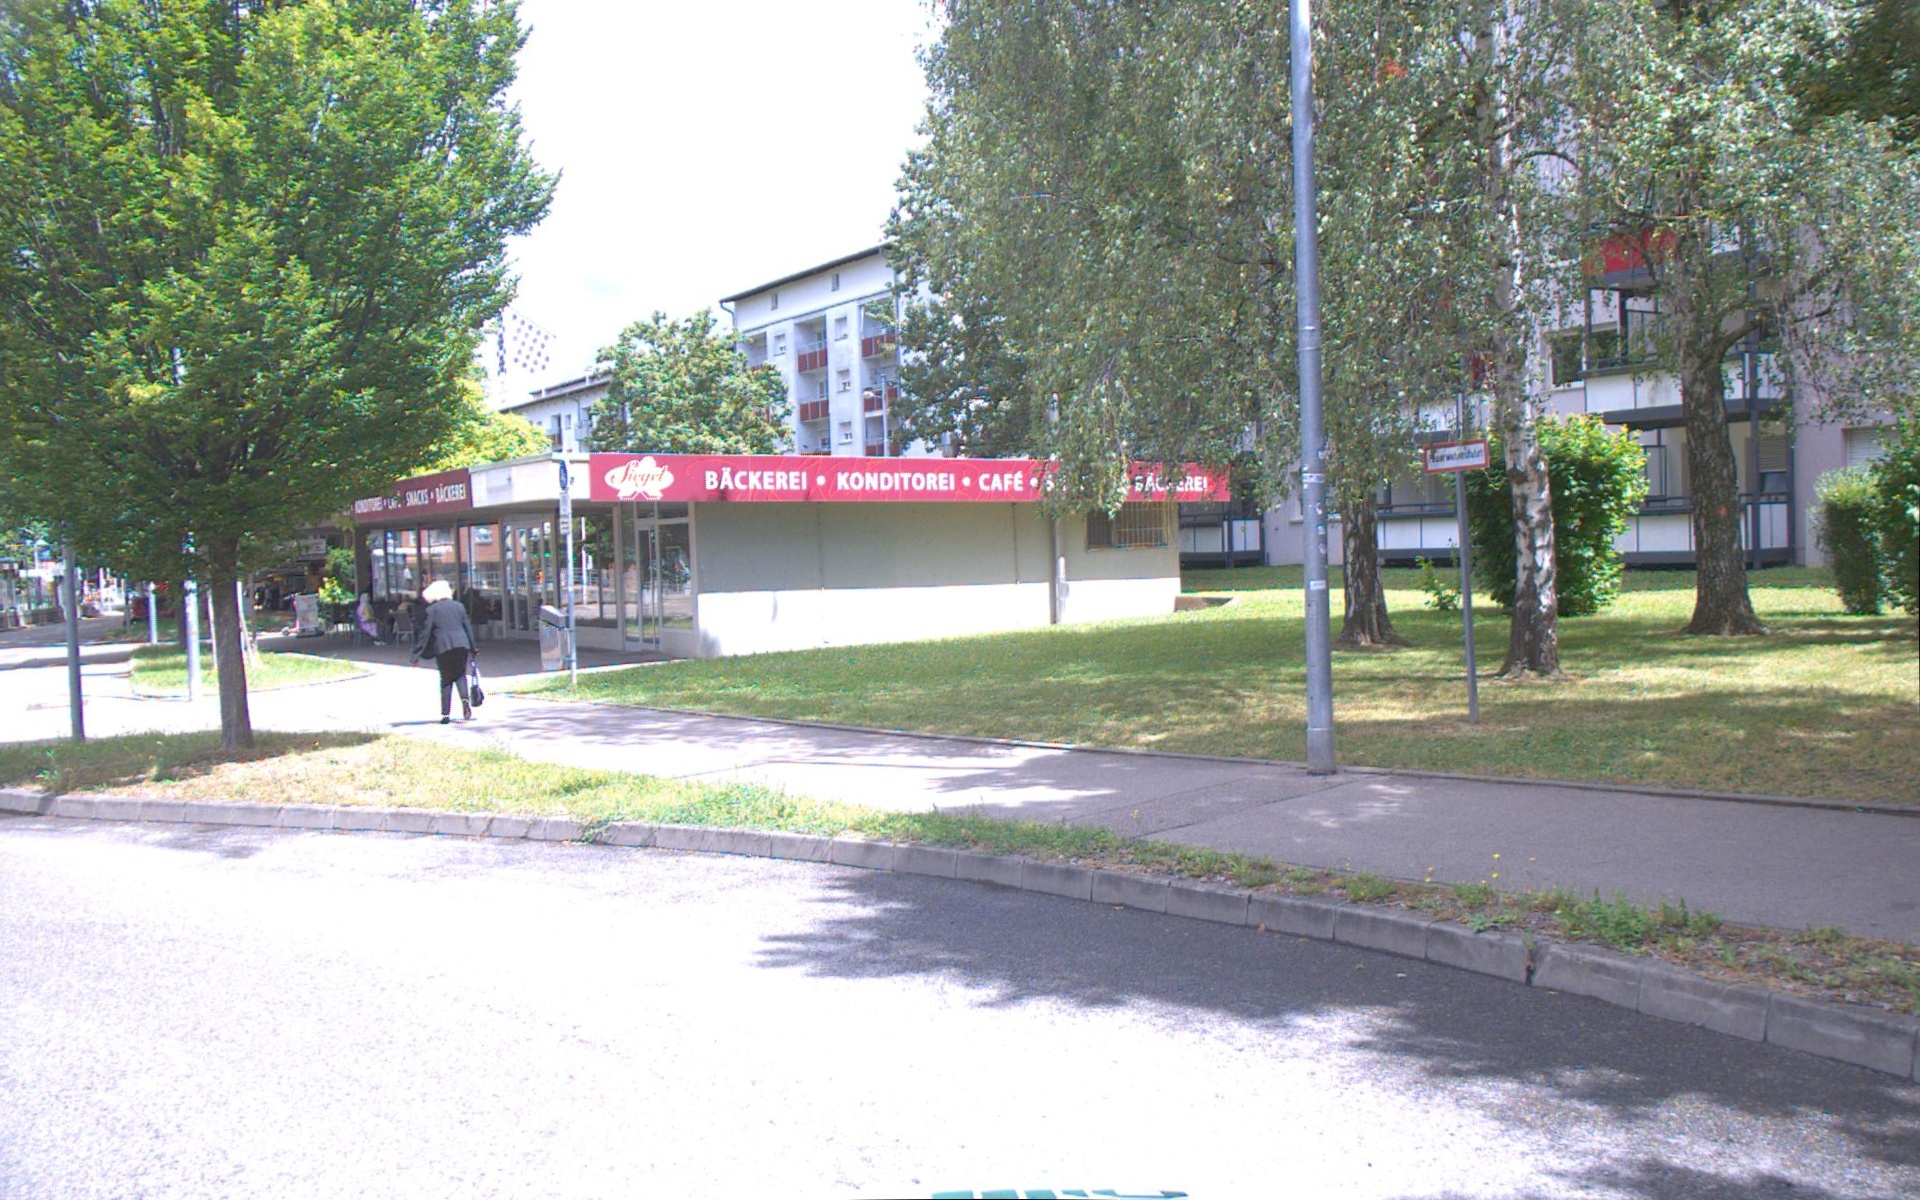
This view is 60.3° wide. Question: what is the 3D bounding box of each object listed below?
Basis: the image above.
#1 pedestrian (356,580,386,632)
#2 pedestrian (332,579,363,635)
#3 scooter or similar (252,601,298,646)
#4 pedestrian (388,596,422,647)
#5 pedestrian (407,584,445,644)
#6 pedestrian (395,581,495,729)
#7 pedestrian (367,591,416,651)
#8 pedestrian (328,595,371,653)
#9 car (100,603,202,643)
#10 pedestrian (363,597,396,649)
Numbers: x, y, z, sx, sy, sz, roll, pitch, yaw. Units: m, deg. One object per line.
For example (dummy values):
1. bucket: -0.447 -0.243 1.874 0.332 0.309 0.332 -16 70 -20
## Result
1. pedestrian: -17.540 0.175 49.243 0.690 1.514 0.551 -4 1 -31
2. pedestrian: -18.305 0.209 49.429 0.690 1.600 0.551 -4 1 -31
3. scooter or similar: -21.281 0.716 51.407 0.507 1.247 1.733 -2 3 5
4. pedestrian: -13.813 0.535 41.170 0.707 1.222 0.694 -4 1 -21
5. pedestrian: -12.962 0.346 40.155 0.710 1.404 0.692 -4 1 -28
6. pedestrian: -5.748 0.585 18.442 0.862 1.545 0.796 -4 3 -28
7. pedestrian: -13.621 0.498 39.627 0.870 1.347 0.813 -4 4 -35
8. pedestrian: -14.753 0.571 39.961 0.867 1.347 0.605 -4 1 -27
9. car: -36.379 1.010 74.514 3.933 1.537 1.987 -2 4 -23
10. pedestrian: -14.405 0.563 41.037 0.707 1.222 0.694 -4 1 -21
